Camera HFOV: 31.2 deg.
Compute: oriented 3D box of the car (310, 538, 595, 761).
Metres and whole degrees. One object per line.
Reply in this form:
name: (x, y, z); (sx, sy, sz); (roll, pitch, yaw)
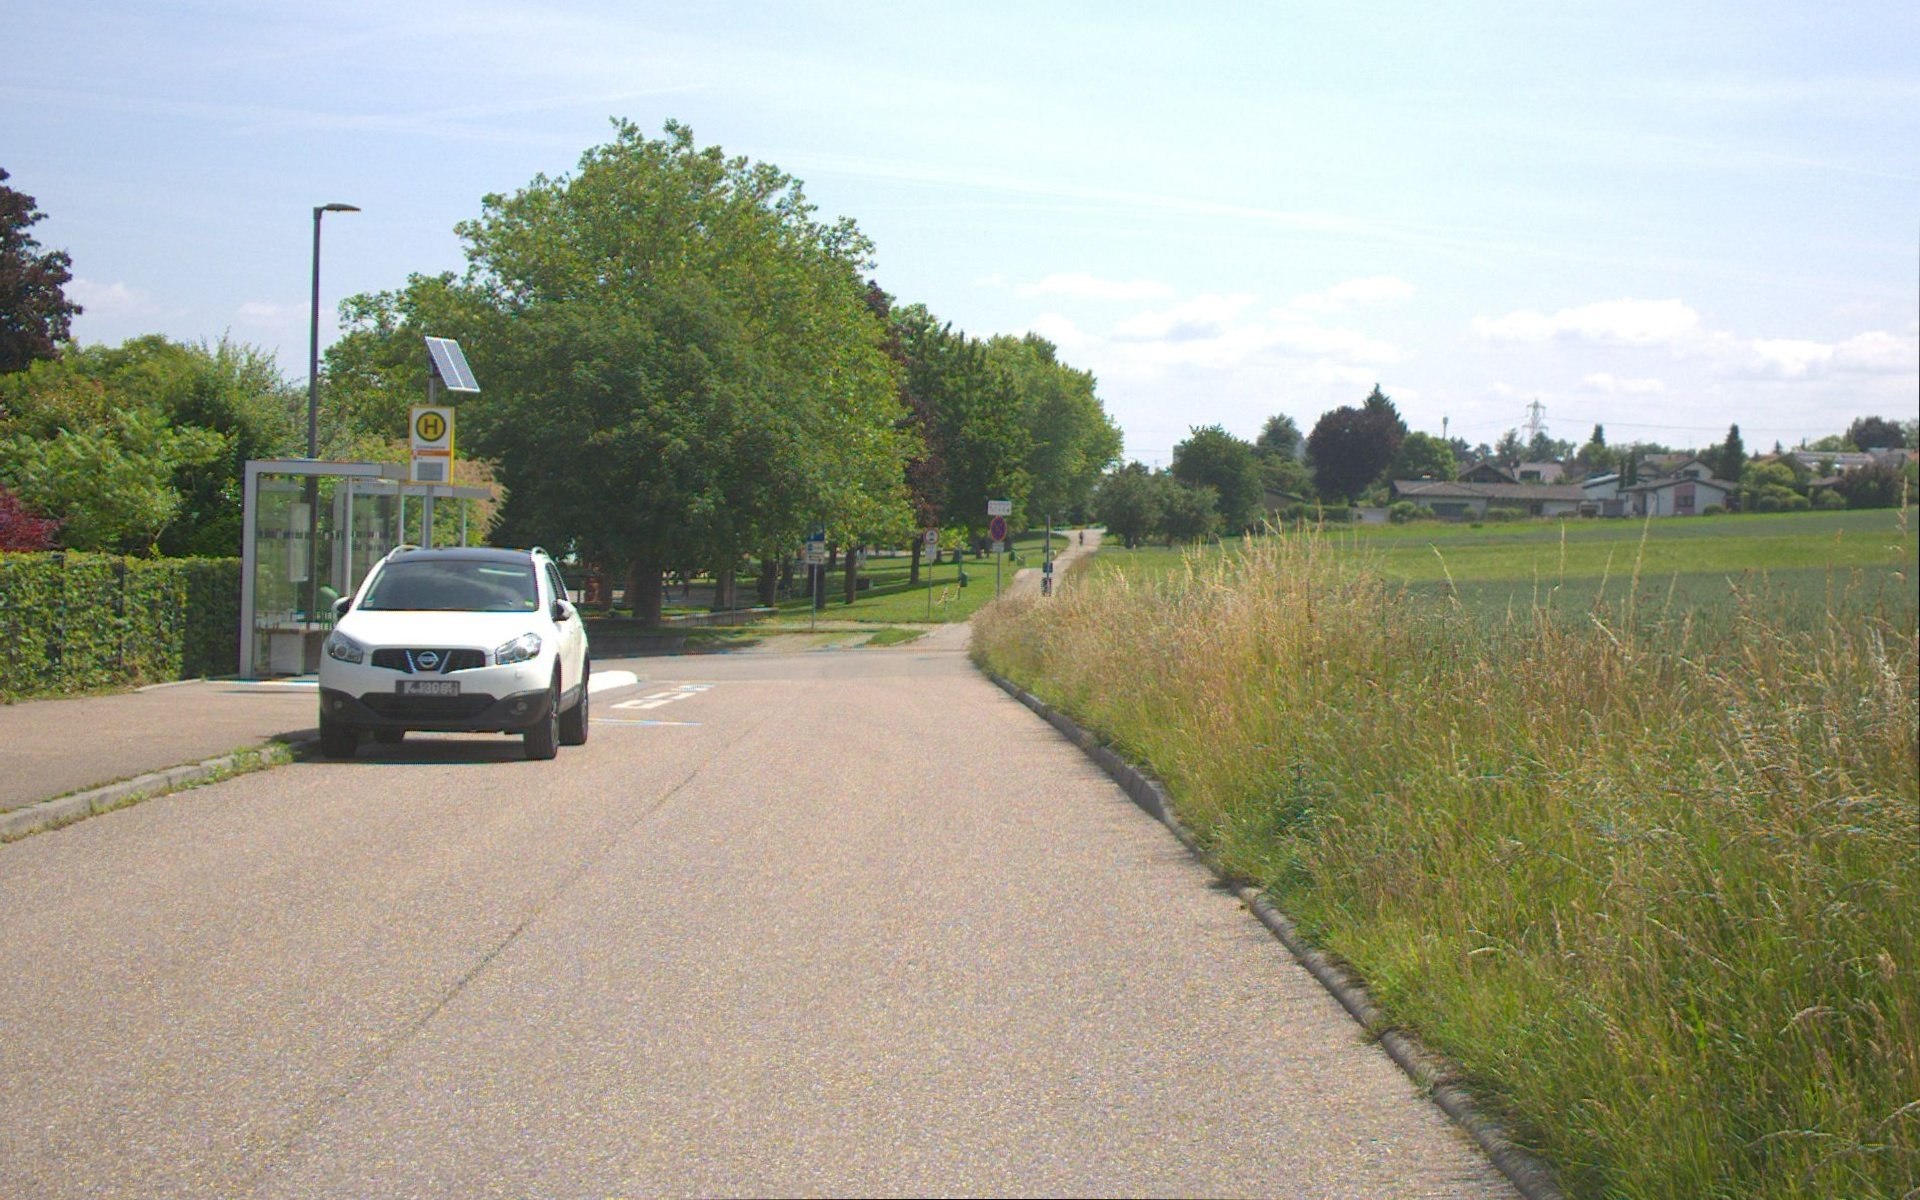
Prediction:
car: (-3.962, 0.363, 27.472); (1.734, 1.628, 4.353); (1, 0, -2)
